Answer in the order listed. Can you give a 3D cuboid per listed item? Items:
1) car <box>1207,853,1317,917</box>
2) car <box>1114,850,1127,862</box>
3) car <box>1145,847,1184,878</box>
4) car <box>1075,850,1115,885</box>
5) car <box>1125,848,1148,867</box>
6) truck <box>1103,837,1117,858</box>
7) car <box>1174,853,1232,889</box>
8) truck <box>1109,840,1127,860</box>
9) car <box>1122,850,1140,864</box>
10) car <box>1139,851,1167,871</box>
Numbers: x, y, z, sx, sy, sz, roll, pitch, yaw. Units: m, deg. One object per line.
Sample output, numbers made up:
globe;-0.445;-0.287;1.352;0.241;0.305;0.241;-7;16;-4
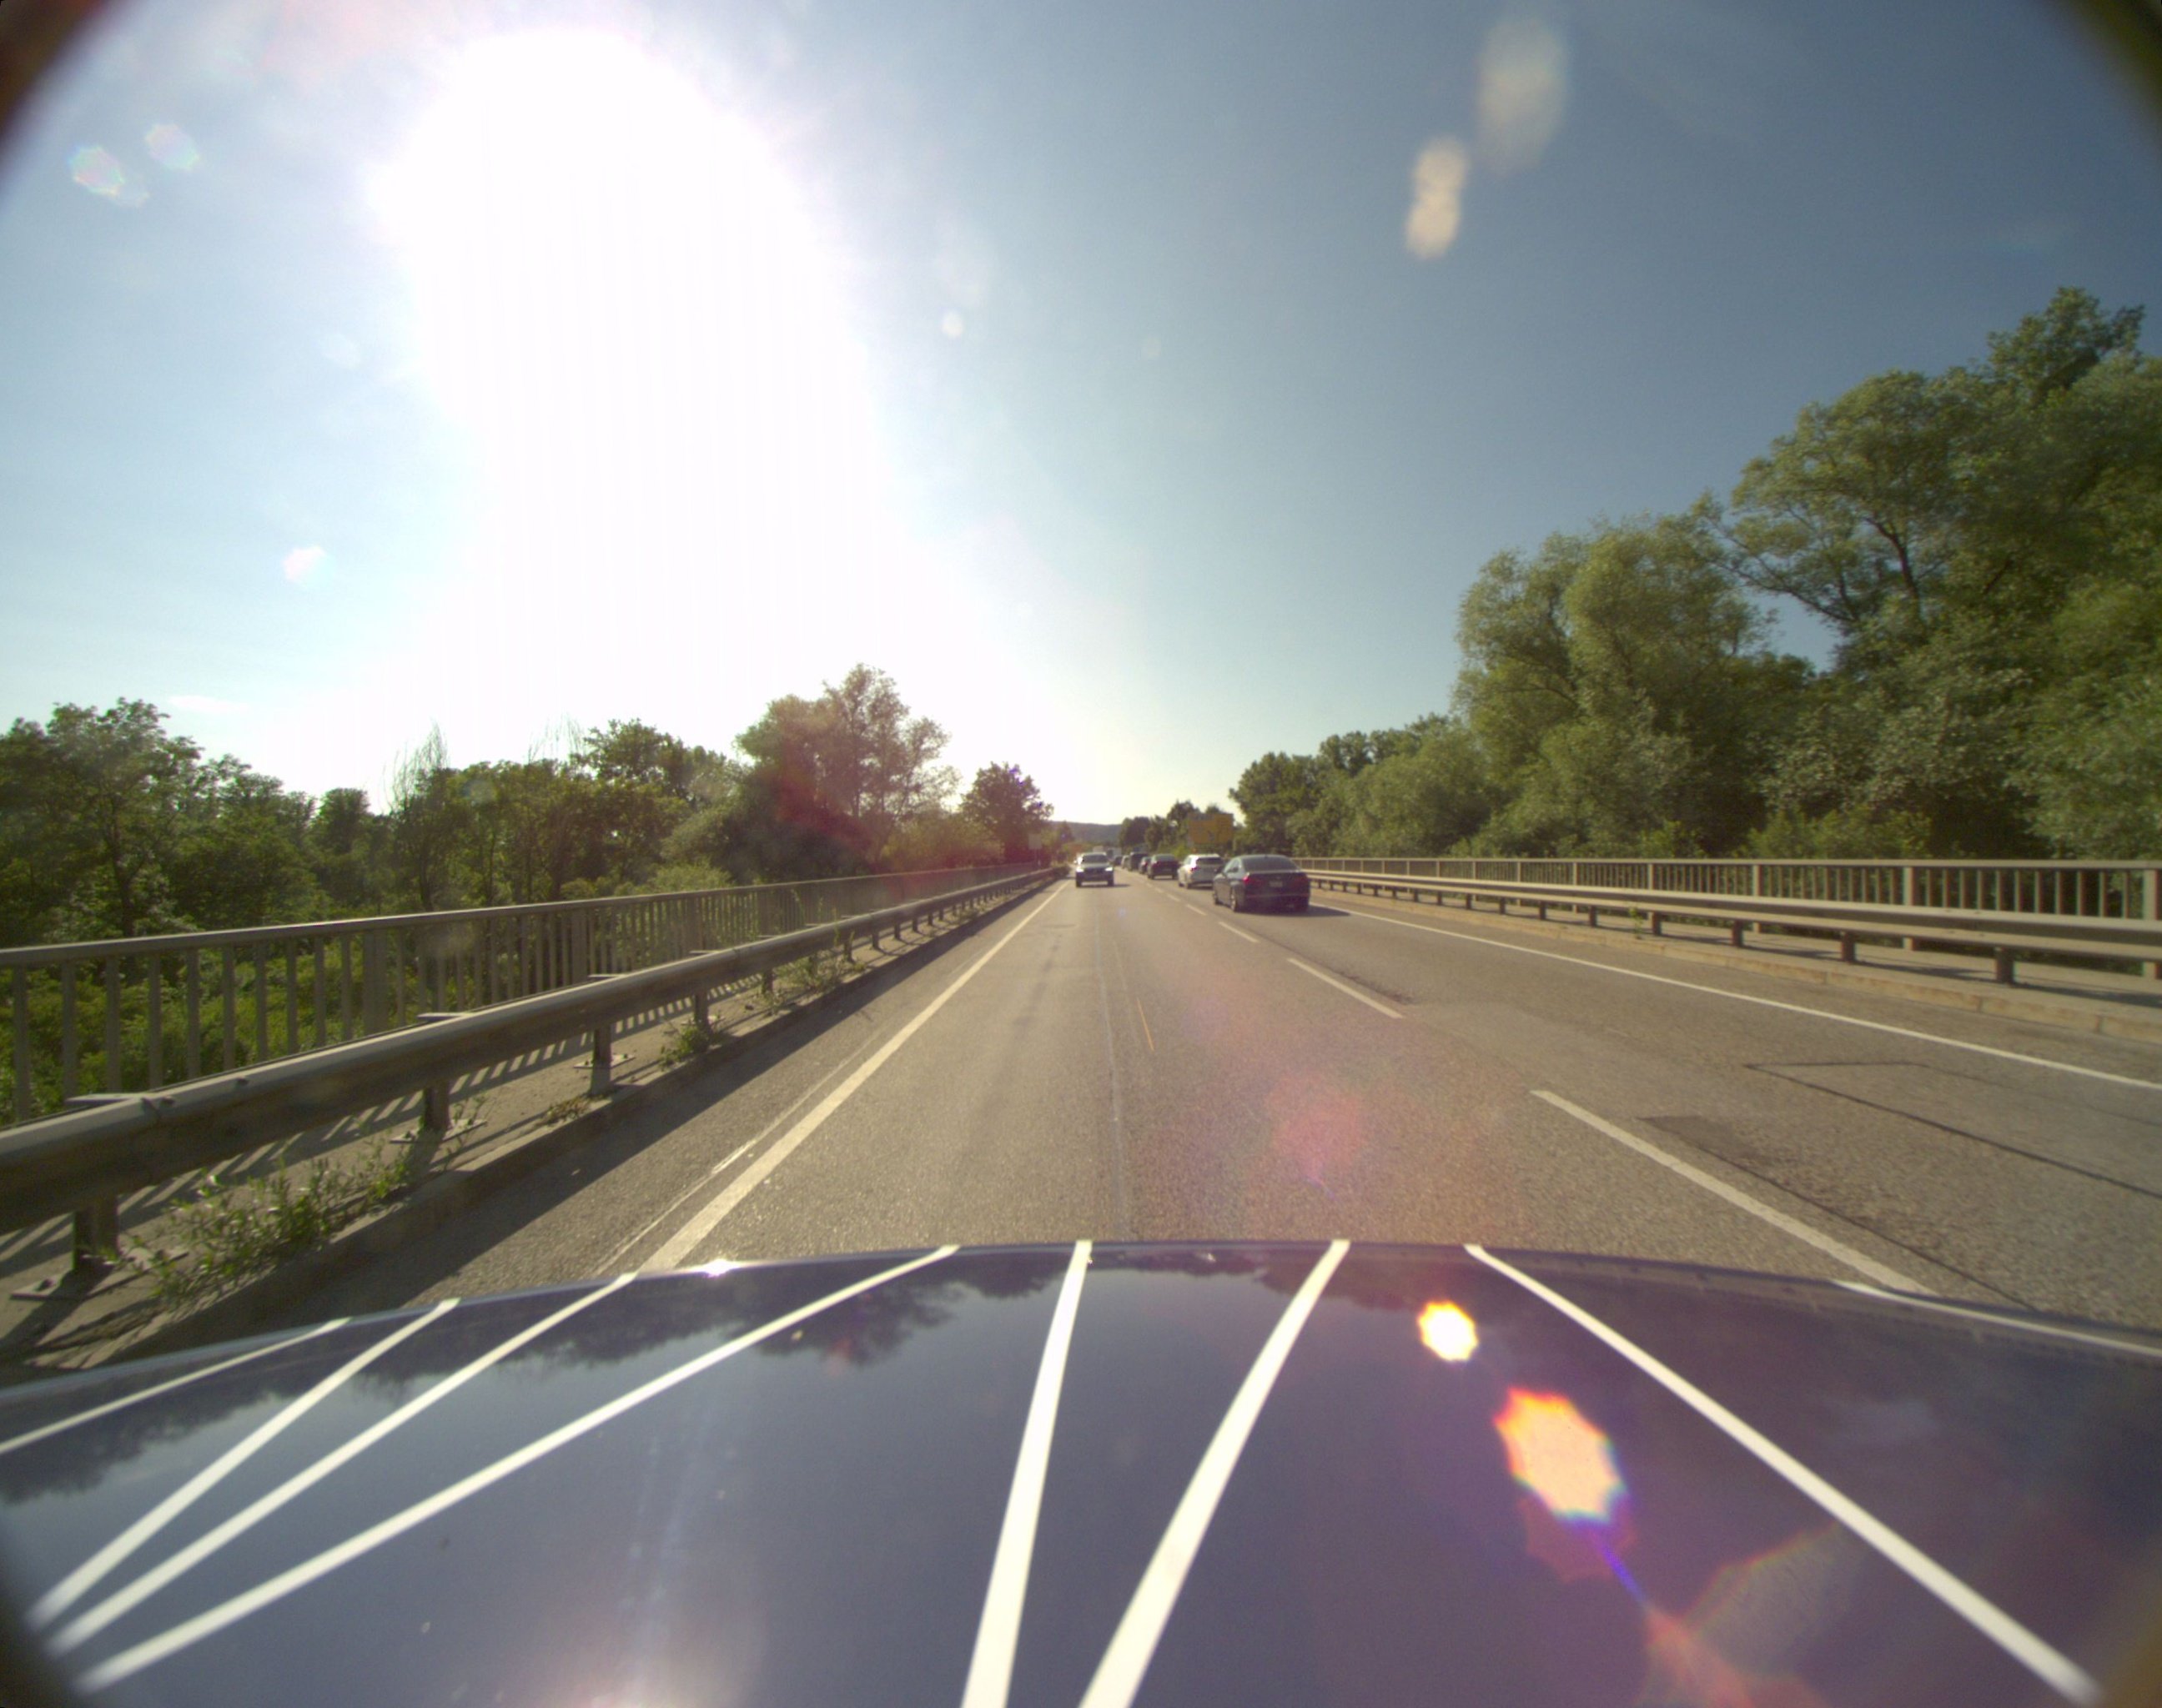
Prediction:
car;4.681;0.731;20.330;1.791;1.412;4.650;-2;1;0
car;5.891;0.252;113.721;1.743;1.655;4.046;-3;0;1
car;5.165;0.501;47.530;1.972;1.796;4.530;-2;0;2
car;0.770;0.653;38.775;1.871;1.598;4.380;-3;0;2
car;5.474;0.345;75.395;1.972;1.796;4.531;-3;0;2
truck;6.344;-1.405;167.099;2.744;4.303;8.130;-2;0;1
car;5.306;0.699;33.570;1.736;1.427;4.486;-2;1;-1
truck;6.322;-0.738;130.226;2.620;3.235;6.967;-2;0;1
car;6.053;0.358;92.390;1.825;1.537;4.061;-3;0;0
car;5.942;0.565;62.791;1.893;1.479;4.273;-2;0;1
